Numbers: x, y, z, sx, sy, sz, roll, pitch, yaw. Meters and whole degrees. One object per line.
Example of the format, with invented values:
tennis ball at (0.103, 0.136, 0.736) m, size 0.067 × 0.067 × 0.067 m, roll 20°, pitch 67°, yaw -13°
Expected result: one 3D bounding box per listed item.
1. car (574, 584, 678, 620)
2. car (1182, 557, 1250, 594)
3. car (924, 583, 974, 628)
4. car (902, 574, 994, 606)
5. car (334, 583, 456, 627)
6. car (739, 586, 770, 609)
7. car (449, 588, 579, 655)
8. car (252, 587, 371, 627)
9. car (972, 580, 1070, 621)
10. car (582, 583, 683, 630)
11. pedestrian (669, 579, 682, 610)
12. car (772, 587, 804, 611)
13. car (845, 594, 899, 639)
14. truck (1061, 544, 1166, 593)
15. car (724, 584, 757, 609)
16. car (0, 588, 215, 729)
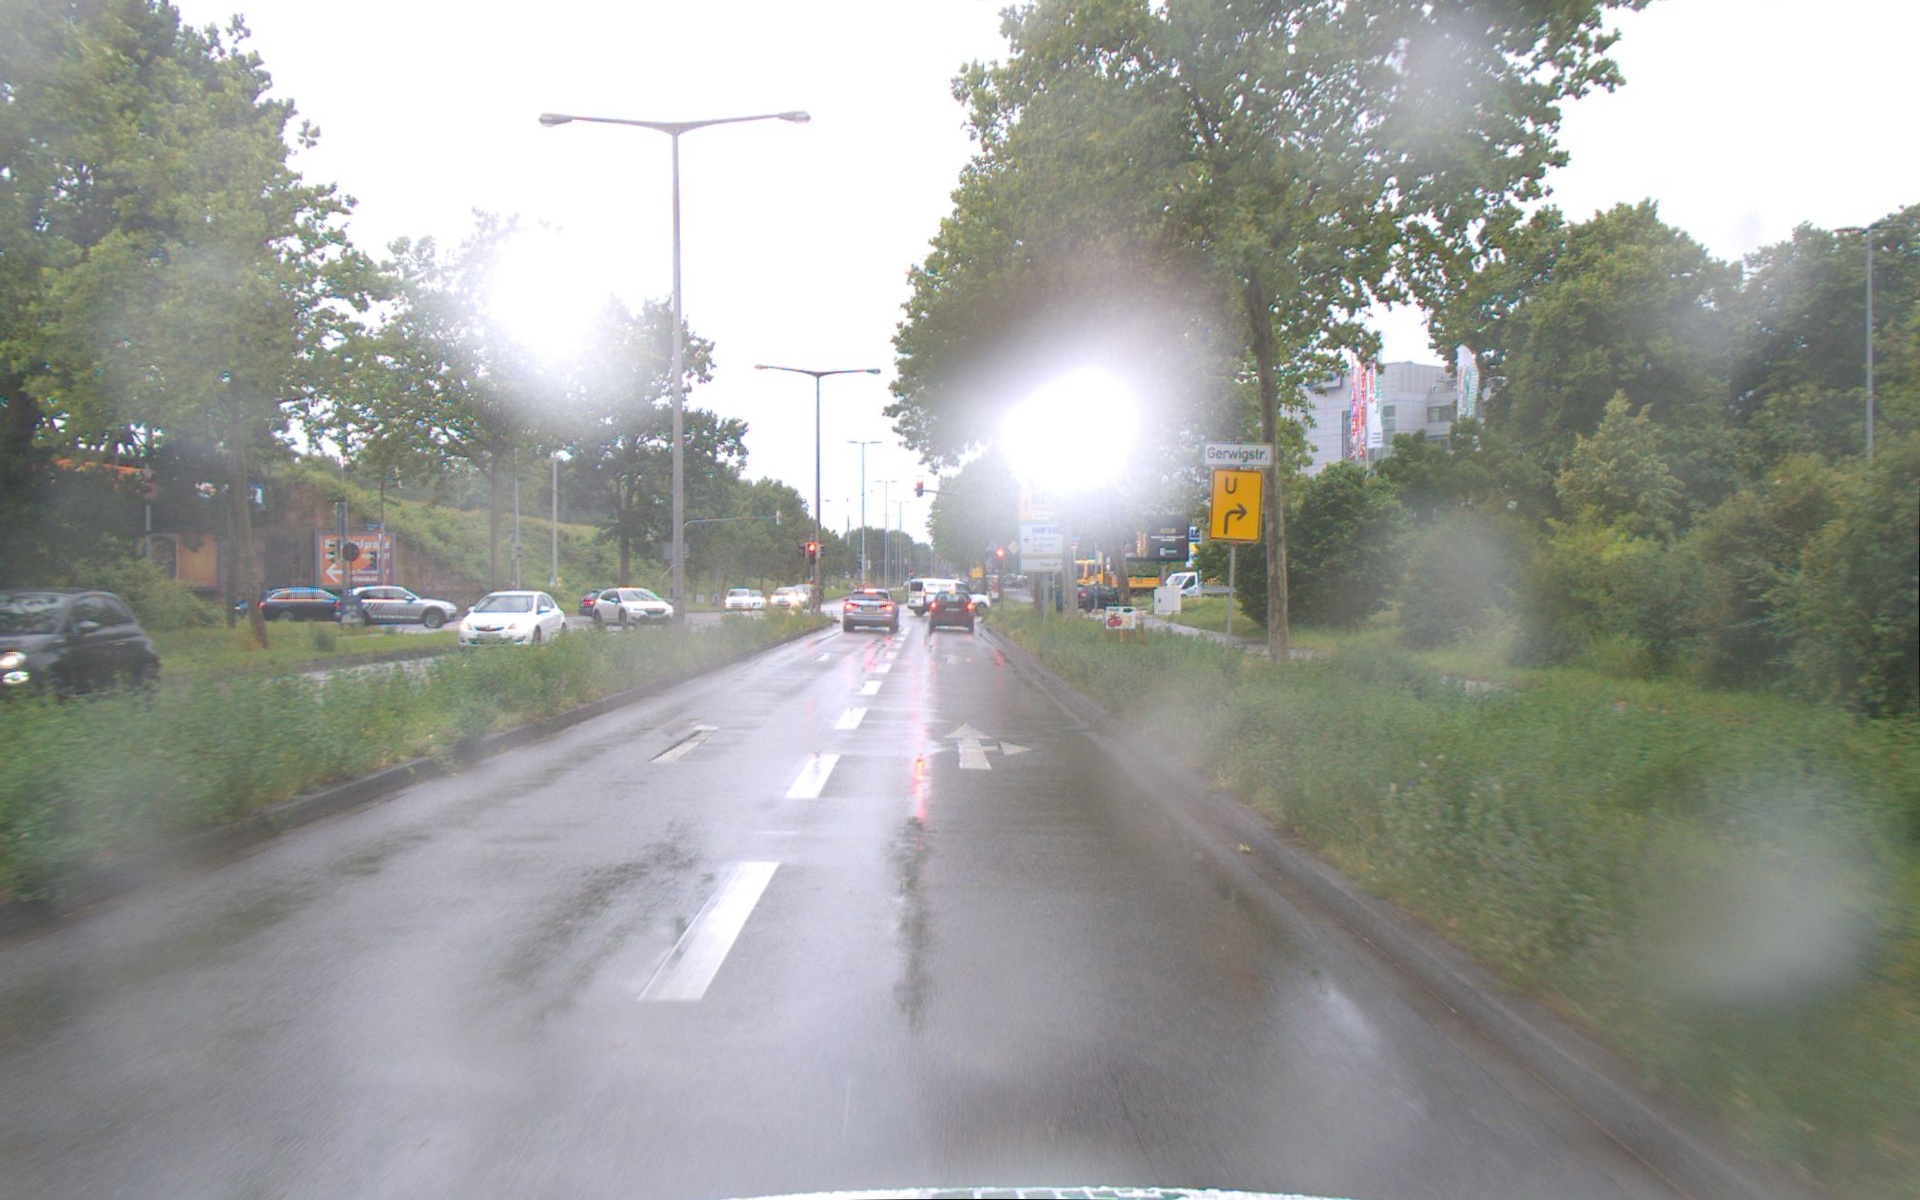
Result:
car at (-15.095, 0.088, 74.836) m, size 4.326 × 1.564 × 1.784 m, roll 0°, pitch 0°, yaw -30°
car at (16.575, -1.590, 107.074) m, size 4.338 × 2.228 × 1.780 m, roll -3°, pitch 2°, yaw -36°
car at (-0.423, 0.178, 61.816) m, size 1.759 × 1.564 × 4.387 m, roll 2°, pitch 0°, yaw -1°
car at (-0.613, -0.511, 83.069) m, size 4.326 × 1.564 × 1.784 m, roll -1°, pitch 0°, yaw -30°
car at (-21.966, 0.177, 64.380) m, size 4.436 × 1.617 × 1.852 m, roll -1°, pitch 0°, yaw -19°
car at (-14.283, -0.217, 115.093) m, size 1.677 × 1.557 × 4.000 m, roll 0°, pitch 0°, yaw -1°
car at (-10.556, 0.471, 39.493) m, size 1.891 × 1.470 × 4.656 m, roll 1°, pitch 0°, yaw -1°
car at (-26.493, 0.276, 67.607) m, size 4.326 × 1.564 × 1.784 m, roll -1°, pitch 0°, yaw -30°
car at (2.735, -0.006, 73.793) m, size 4.348 × 1.563 × 1.776 m, roll -3°, pitch 3°, yaw -41°
car at (-11.945, 0.231, 60.138) m, size 1.843 × 1.617 × 4.458 m, roll -1°, pitch 0°, yaw -37°
pedestrian at (-17.084, -0.333, 99.370) m, size 0.522 × 1.817 × 0.673 m, roll 1°, pitch -1°, yaw 17°
car at (-11.402, -0.098, 109.797) m, size 1.677 × 1.557 × 4.000 m, roll 0°, pitch 0°, yaw -1°
car at (-3.016, 0.535, 57.316) m, size 1.655 × 1.458 × 4.574 m, roll 1°, pitch 0°, yaw -1°
truck at (10.058, -2.007, 108.081) m, size 6.976 × 3.107 × 2.611 m, roll -1°, pitch 0°, yaw -38°
car at (-14.399, -0.252, 108.553) m, size 1.677 × 1.557 × 4.000 m, roll 0°, pitch 0°, yaw -1°
car at (-10.463, 0.608, 19.306) m, size 1.891 × 1.470 × 3.707 m, roll 1°, pitch 0°, yaw -1°
